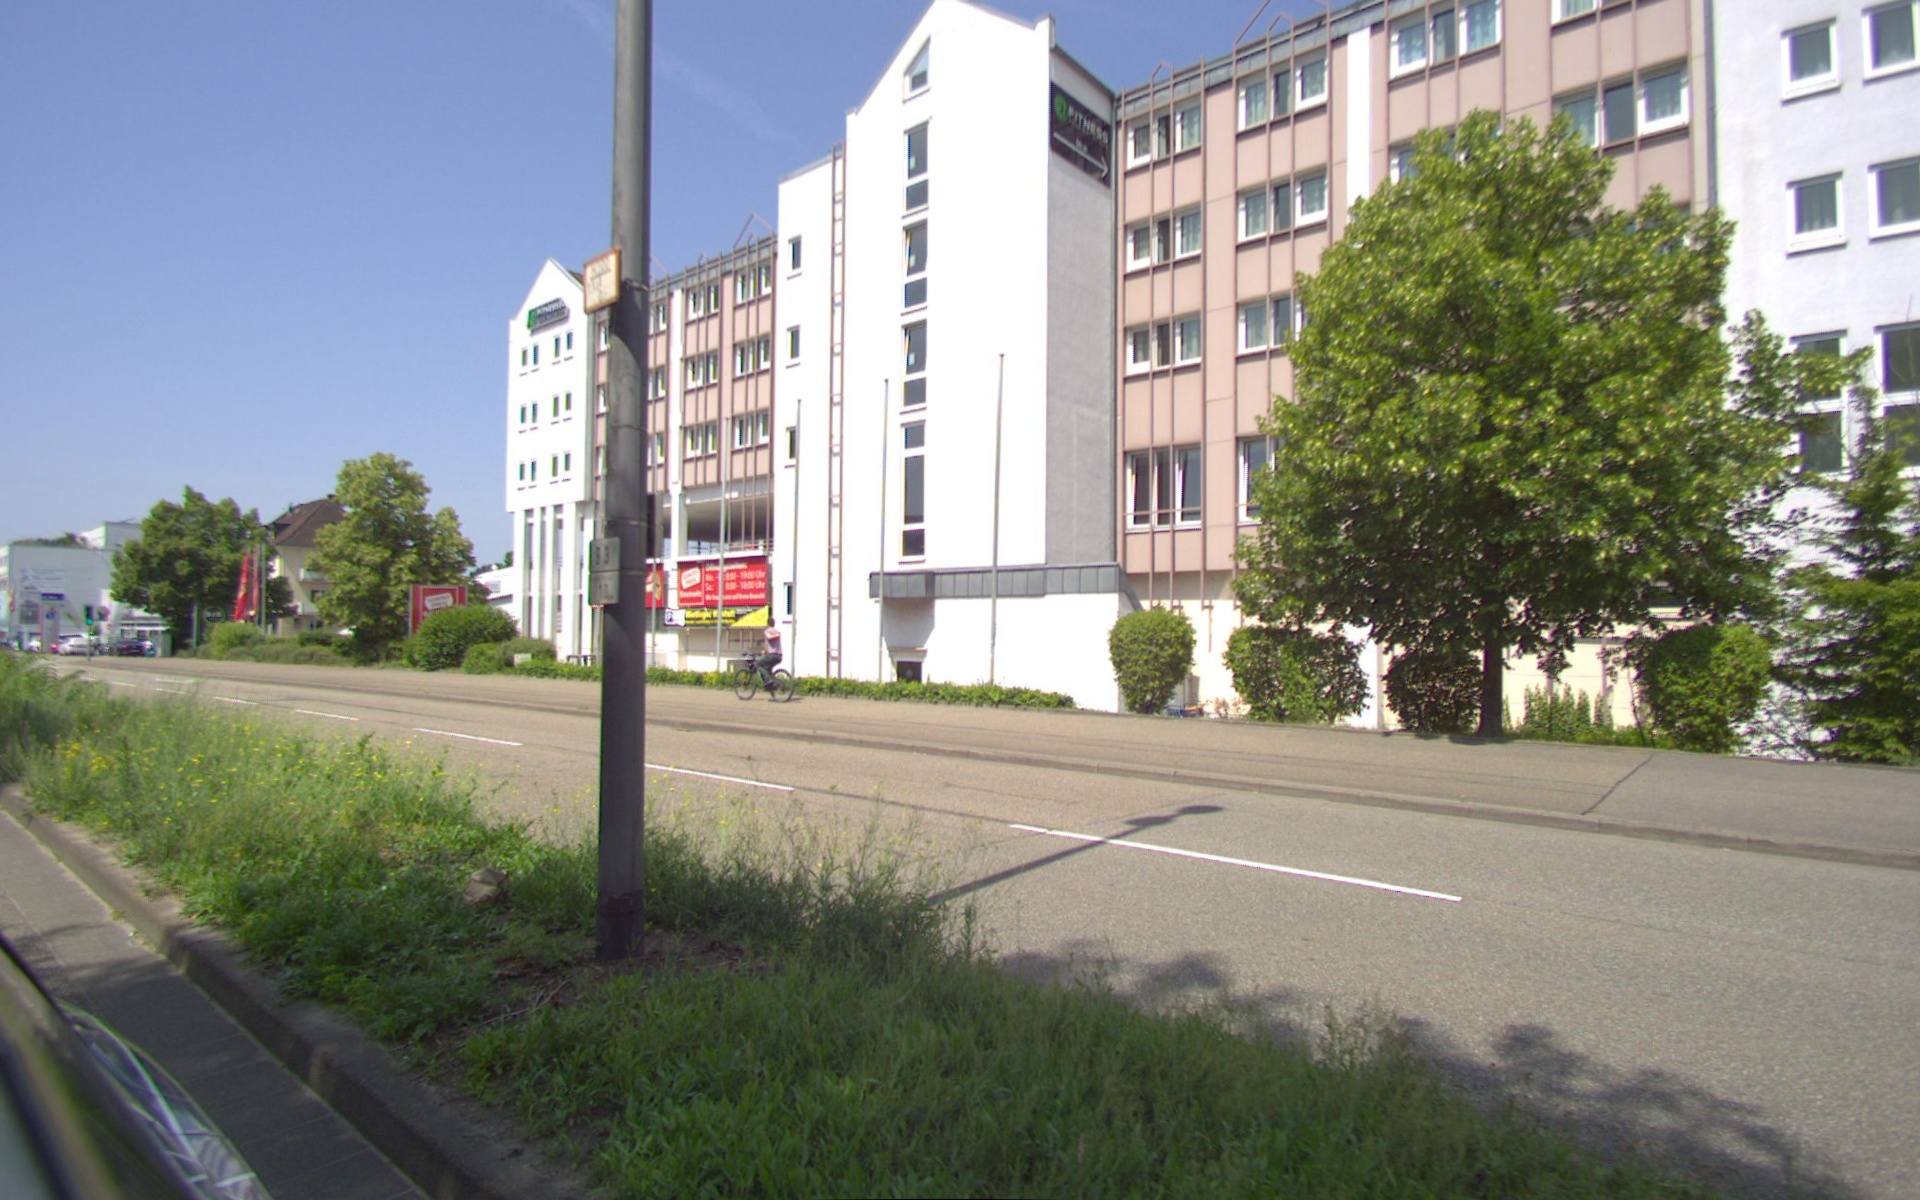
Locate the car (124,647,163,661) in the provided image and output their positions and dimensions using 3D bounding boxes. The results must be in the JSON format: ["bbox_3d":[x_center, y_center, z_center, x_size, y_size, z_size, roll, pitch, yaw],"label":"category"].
[{"bbox_3d":[-73.136,4.813,90.711,1.622,1.261,4.013,2,-3,-23],"label":"car"}]

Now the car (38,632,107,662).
[{"bbox_3d":[-80.877,4.269,92.312,4.495,1.720,1.763,-14,9,-39],"label":"car"}]

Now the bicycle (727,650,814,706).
[{"bbox_3d":[-3.946,1.591,20.962,2.060,1.081,0.545,-1,-2,38],"label":"bicycle"}]

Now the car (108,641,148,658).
[{"bbox_3d":[-69.122,4.100,84.037,3.995,1.362,1.715,-2,-4,38],"label":"car"}]

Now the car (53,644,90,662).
[{"bbox_3d":[-72.044,4.269,82.017,4.758,1.421,1.756,-3,-5,43],"label":"car"}]

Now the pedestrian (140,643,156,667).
[{"bbox_3d":[-60.259,4.094,75.065,1.033,1.760,0.732,-2,-4,43],"label":"pedestrian"}]

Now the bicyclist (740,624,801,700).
[{"bbox_3d":[-3.927,1.266,20.961,1.025,1.528,0.710,-1,-3,37],"label":"bicyclist"}]
